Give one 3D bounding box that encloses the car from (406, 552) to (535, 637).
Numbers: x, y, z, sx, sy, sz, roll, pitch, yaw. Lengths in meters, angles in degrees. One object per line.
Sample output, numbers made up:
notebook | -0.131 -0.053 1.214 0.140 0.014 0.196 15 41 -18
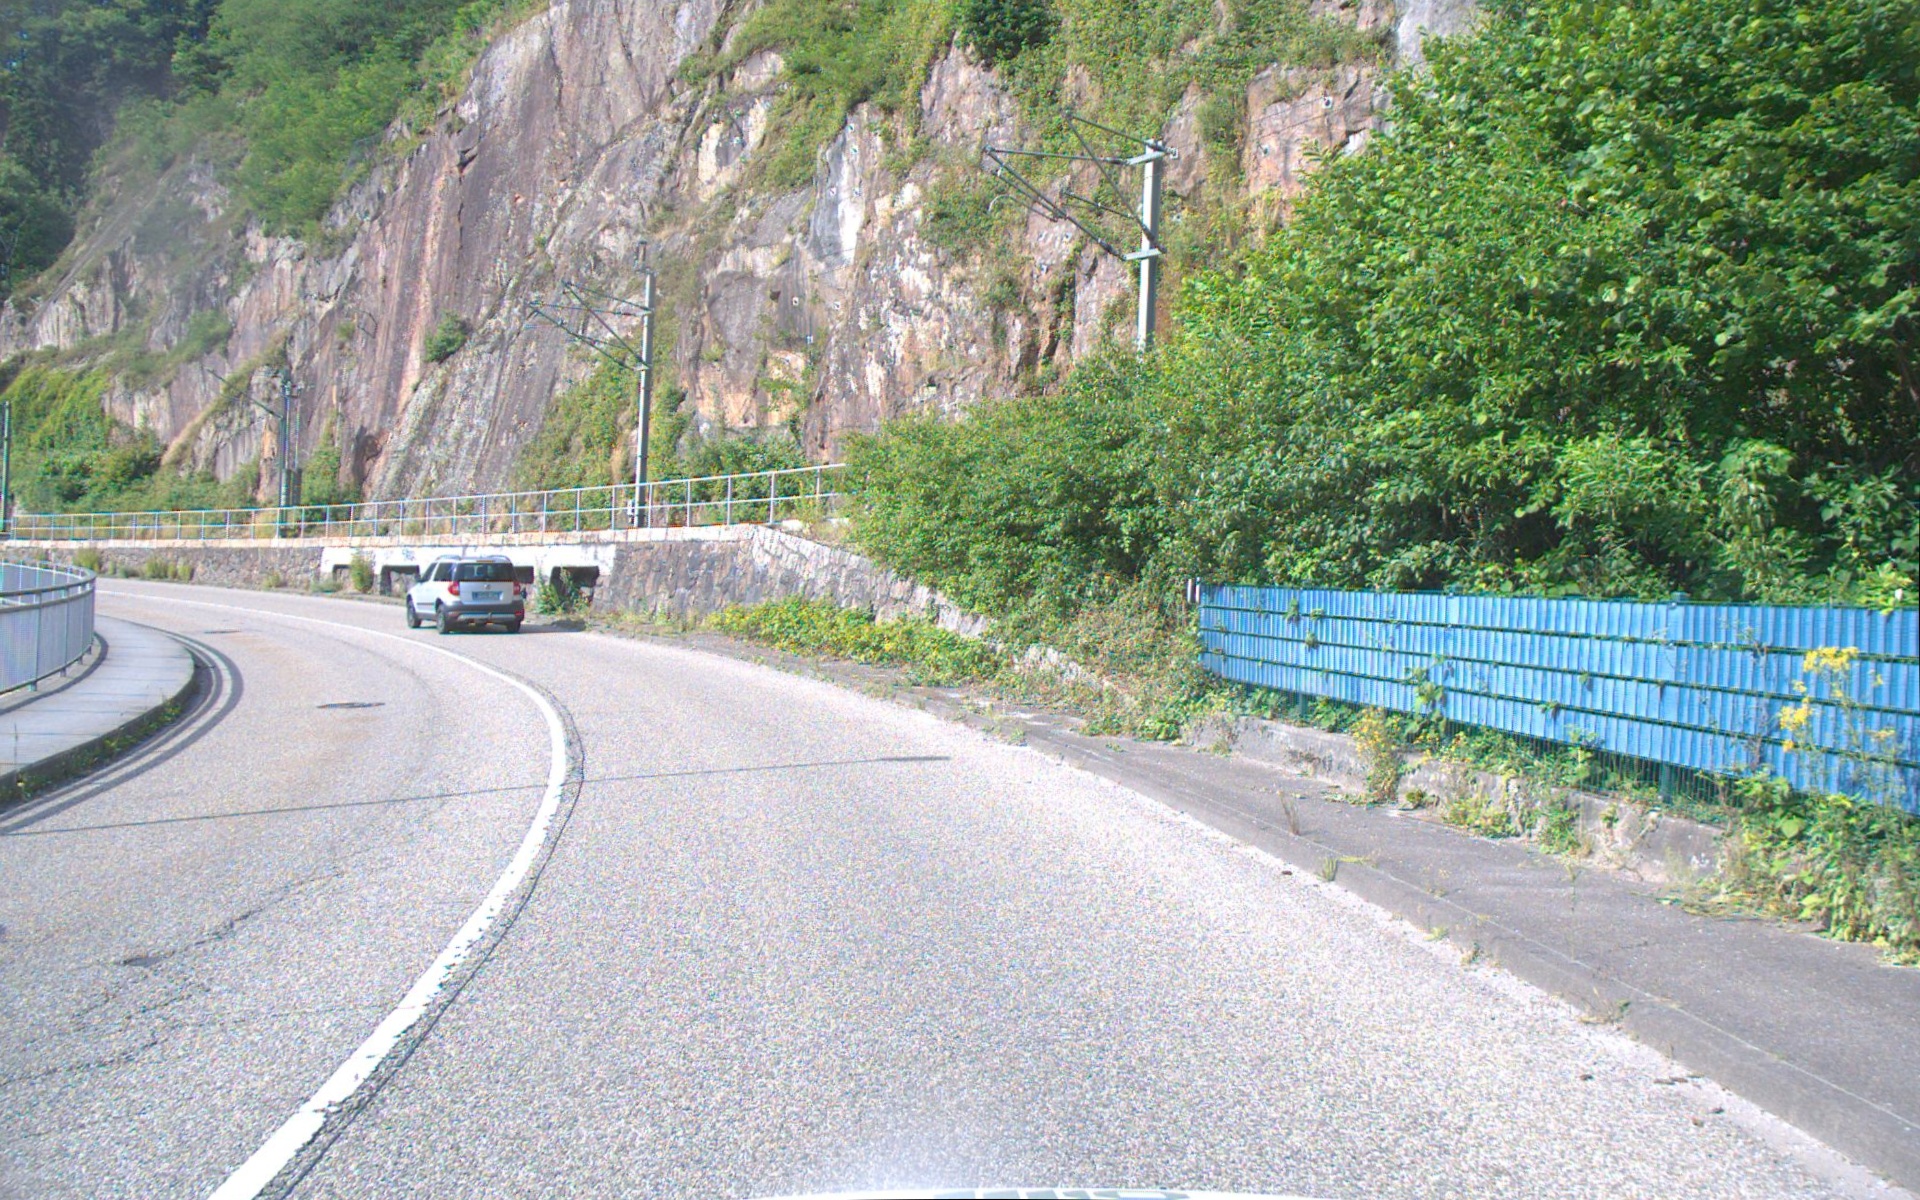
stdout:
car | -10.997 -0.180 36.992 1.854 1.684 3.959 -1 3 -31
